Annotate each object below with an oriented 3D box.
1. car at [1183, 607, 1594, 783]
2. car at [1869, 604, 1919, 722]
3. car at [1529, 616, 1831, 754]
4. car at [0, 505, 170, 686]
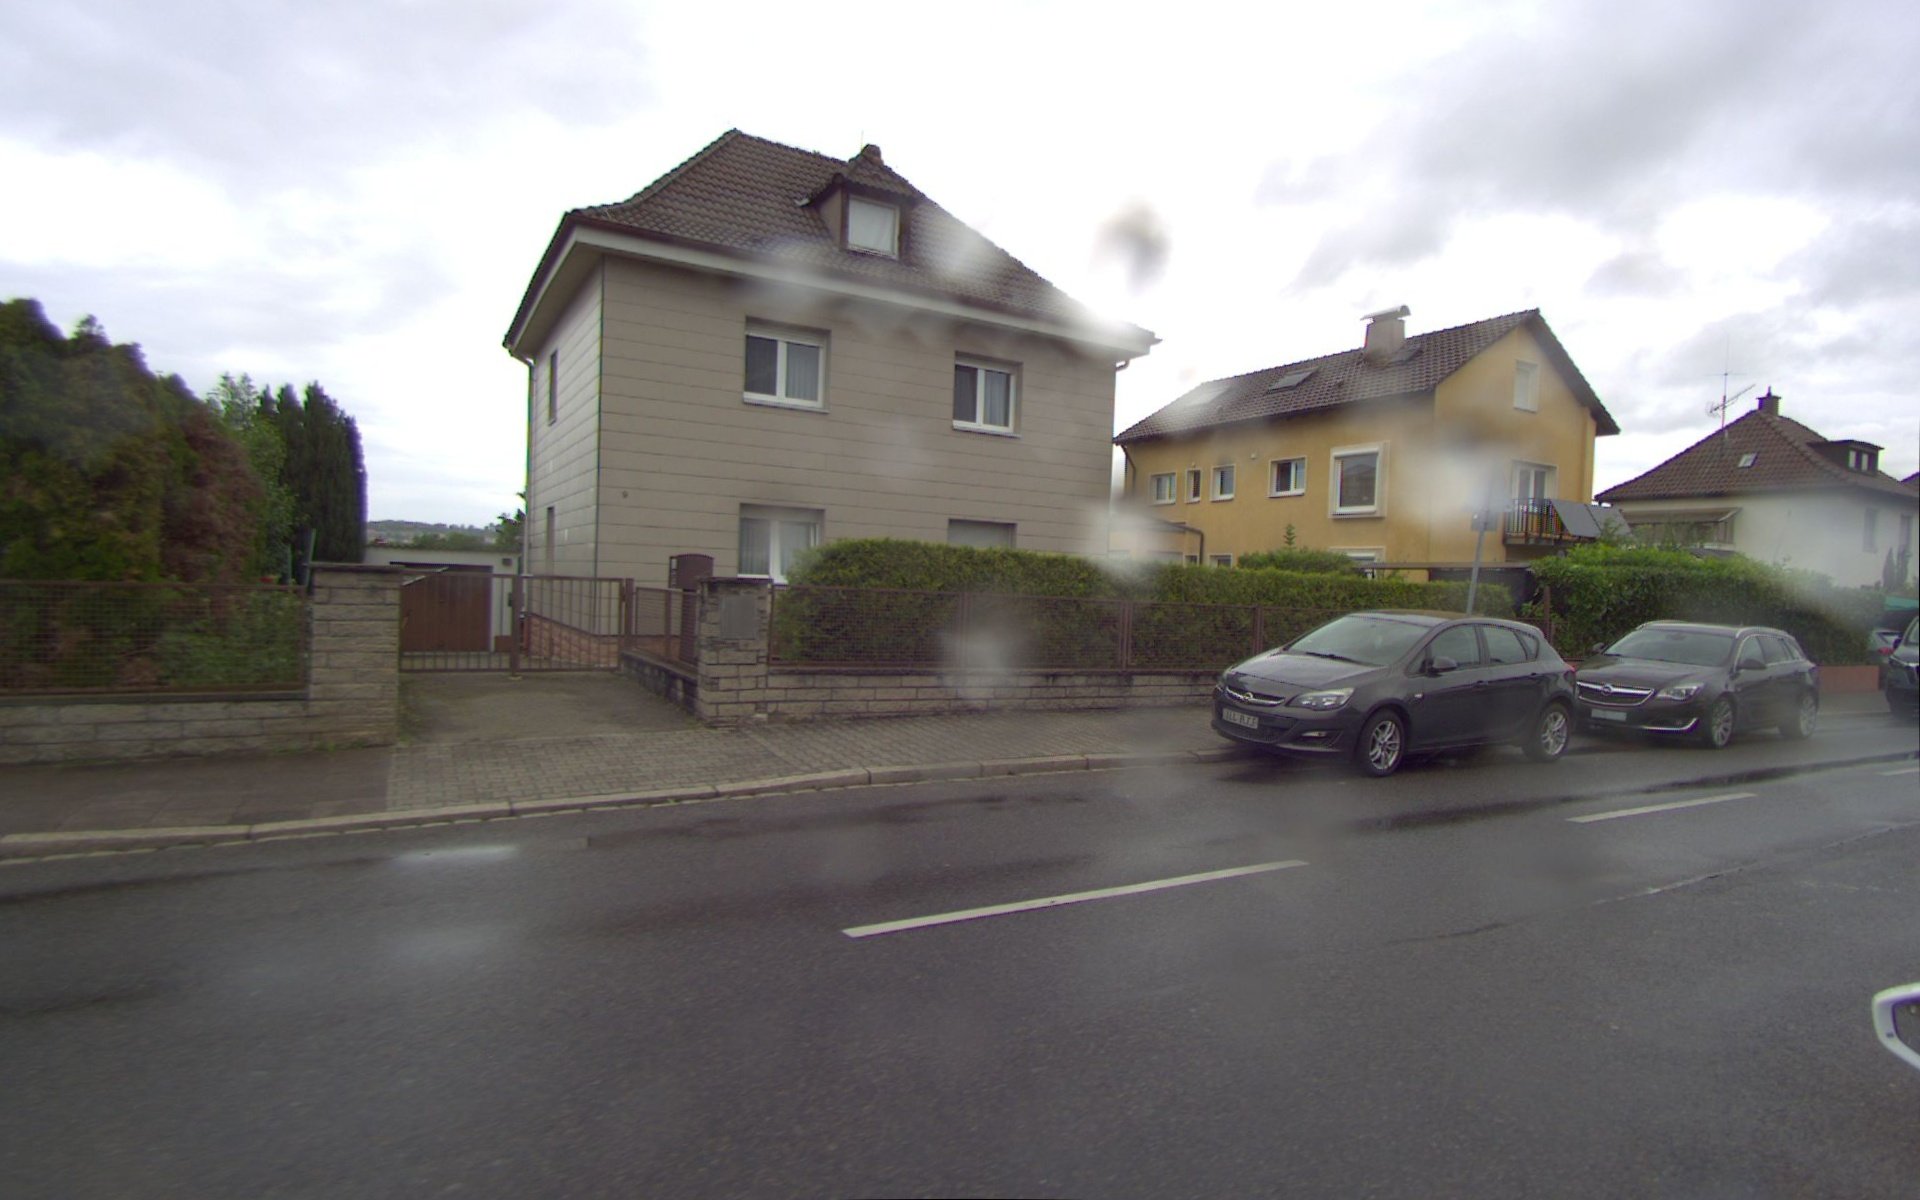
[{"bbox_3d":[4.461,0.891,10.336,4.080,1.458,1.742,2,0,-29],"label":"car"},{"bbox_3d":[18.881,1.192,18.474,5.032,2.029,1.902,2,0,-32],"label":"car"},{"bbox_3d":[9.771,1.077,13.538,4.478,1.537,1.740,2,0,-32],"label":"car"},{"bbox_3d":[-11.786,-0.020,12.616,1.972,1.980,3.977,0,-1,-24],"label":"car"}]
